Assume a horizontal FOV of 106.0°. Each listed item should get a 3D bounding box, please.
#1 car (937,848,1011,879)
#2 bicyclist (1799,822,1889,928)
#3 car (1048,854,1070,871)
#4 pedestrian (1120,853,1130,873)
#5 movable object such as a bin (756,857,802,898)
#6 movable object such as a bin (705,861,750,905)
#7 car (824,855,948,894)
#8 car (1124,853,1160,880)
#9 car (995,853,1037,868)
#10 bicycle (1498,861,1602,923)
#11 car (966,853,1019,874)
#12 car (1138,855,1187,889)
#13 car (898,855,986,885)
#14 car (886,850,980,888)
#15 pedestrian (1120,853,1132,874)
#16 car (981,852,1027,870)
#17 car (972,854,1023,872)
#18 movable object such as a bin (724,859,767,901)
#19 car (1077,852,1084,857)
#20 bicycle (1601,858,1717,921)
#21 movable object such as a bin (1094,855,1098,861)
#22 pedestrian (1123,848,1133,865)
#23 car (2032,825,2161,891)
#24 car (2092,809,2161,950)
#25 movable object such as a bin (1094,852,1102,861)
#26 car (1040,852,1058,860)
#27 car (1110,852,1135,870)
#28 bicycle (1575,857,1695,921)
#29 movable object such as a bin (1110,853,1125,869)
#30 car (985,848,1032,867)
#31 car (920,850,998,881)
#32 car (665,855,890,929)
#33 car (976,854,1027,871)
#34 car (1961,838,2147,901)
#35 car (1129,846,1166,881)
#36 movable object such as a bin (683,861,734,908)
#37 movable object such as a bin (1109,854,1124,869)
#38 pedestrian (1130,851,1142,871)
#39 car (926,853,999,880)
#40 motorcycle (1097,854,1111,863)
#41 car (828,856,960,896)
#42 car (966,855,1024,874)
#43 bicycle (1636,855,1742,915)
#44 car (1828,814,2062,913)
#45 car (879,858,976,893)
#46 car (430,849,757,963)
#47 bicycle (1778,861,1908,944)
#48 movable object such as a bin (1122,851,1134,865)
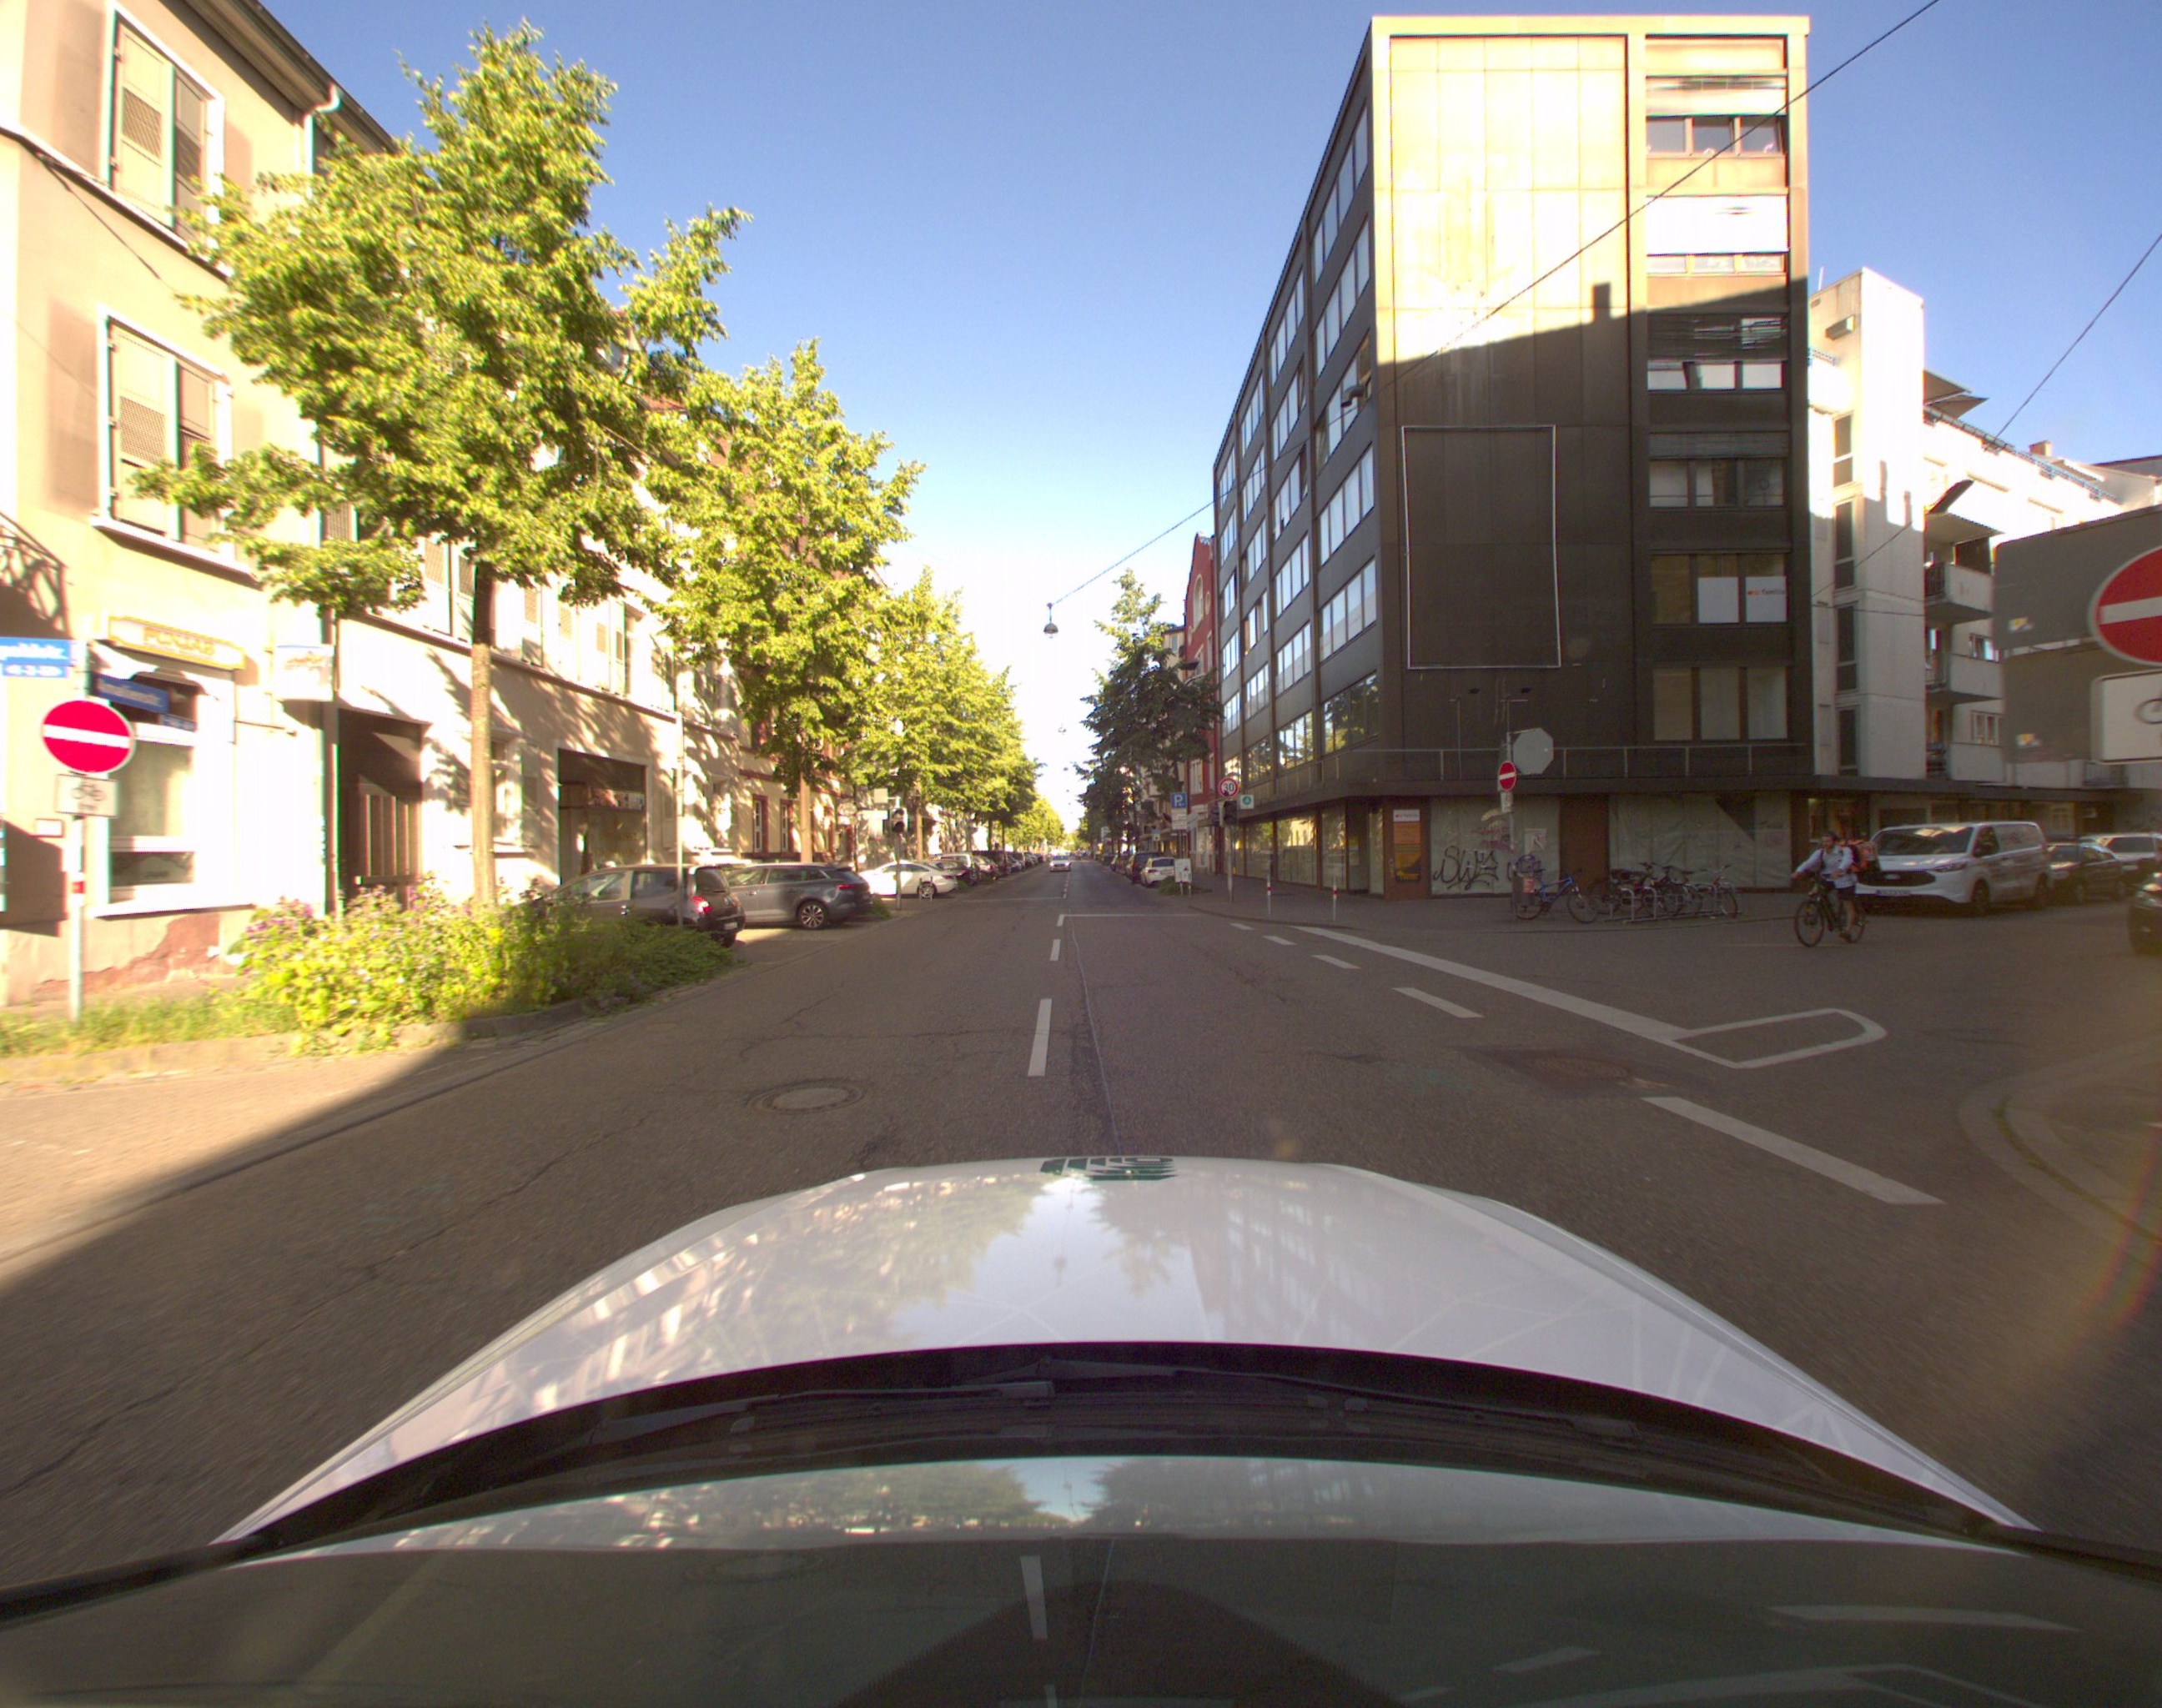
[{"bbox_3d":[-6.956,0.628,53.246,4.556,1.927,1.931,-1,0,1],"label":"car"},{"bbox_3d":[11.448,0.299,12.225,0.890,1.525,0.664,0,-1,-22],"label":"bicyclist"},{"bbox_3d":[-1.933,0.754,74.166,1.904,1.544,4.352,-1,0,-1],"label":"car"},{"bbox_3d":[3.418,0.707,62.968,0.648,1.536,0.979,-2,0,-2],"label":"pedestrian"},{"bbox_3d":[-11.042,0.848,29.808,1.129,1.445,1.382,0,0,3],"label":"movable object such as a bin"},{"bbox_3d":[-11.172,0.891,25.759,0.826,1.355,1.249,0,0,3],"label":"movable object such as a bin"},{"bbox_3d":[-7.970,0.829,33.695,4.692,1.492,1.996,0,1,-6],"label":"car"},{"bbox_3d":[3.865,0.764,52.304,1.816,1.596,4.840,-4,0,0],"label":"car"},{"bbox_3d":[-7.510,0.743,94.699,4.664,1.712,1.808,-1,0,0],"label":"car"},{"bbox_3d":[9.445,0.734,16.451,0.576,1.161,1.724,-2,1,-40],"label":"bicycle"},{"bbox_3d":[-7.509,0.770,69.249,4.326,1.709,1.916,-1,0,-1],"label":"car"},{"bbox_3d":[3.888,0.819,39.512,1.816,1.402,4.841,-4,0,0],"label":"car"},{"bbox_3d":[-7.404,0.847,43.714,4.320,1.544,1.918,-1,0,3],"label":"car"},{"bbox_3d":[-7.413,0.746,40.991,4.324,1.824,1.930,-1,0,1],"label":"car"},{"bbox_3d":[3.421,0.737,61.669,0.744,1.536,0.810,-2,0,14],"label":"pedestrian"},{"bbox_3d":[-7.856,0.747,83.052,4.451,1.772,1.917,-1,0,0],"label":"car"},{"bbox_3d":[-7.508,0.828,73.622,4.454,1.541,1.915,-1,0,-2],"label":"car"},{"bbox_3d":[-11.130,0.842,27.085,0.814,1.362,1.346,0,0,3],"label":"movable object such as a bin"},{"bbox_3d":[-0.095,0.131,221.037,1.787,1.411,3.999,-1,0,-1],"label":"car"},{"bbox_3d":[12.162,0.713,17.203,0.575,1.132,1.909,-1,3,-29],"label":"bicycle"},{"bbox_3d":[2.888,0.763,157.900,0.620,1.180,0.711,-1,0,-3],"label":"movable object such as a bin"},{"bbox_3d":[5.572,0.270,95.886,0.916,1.935,0.765,-1,0,24],"label":"pedestrian"},{"bbox_3d":[28.569,0.083,22.458,4.325,1.677,1.983,-1,0,-25],"label":"car"},{"bbox_3d":[15.746,0.302,10.794,4.325,1.771,1.983,-1,0,-25],"label":"car"},{"bbox_3d":[3.003,0.465,140.790,1.136,1.562,1.462,-2,0,8],"label":"movable object such as a bin"},{"bbox_3d":[-7.509,0.393,191.517,3.969,1.694,2.002,-1,0,4],"label":"car"},{"bbox_3d":[3.632,0.586,71.721,1.816,1.472,4.910,-4,0,0],"label":"car"},{"bbox_3d":[11.498,0.693,16.991,0.575,1.161,1.999,-1,3,-29],"label":"bicycle"},{"bbox_3d":[3.582,0.690,80.268,1.394,1.454,1.146,-1,0,-1],"label":"movable object such as a bin"},{"bbox_3d":[-7.631,0.369,85.940,4.664,1.950,1.917,-1,0,0],"label":"car"},{"bbox_3d":[-7.185,0.678,48.240,4.329,1.733,1.915,-1,0,-3],"label":"car"},{"bbox_3d":[-6.758,0.823,18.482,4.323,1.544,1.945,-1,0,1],"label":"car"},{"bbox_3d":[-7.431,0.791,76.379,4.448,1.541,1.918,-1,0,2],"label":"car"},{"bbox_3d":[23.782,0.379,19.919,3.673,1.412,1.964,0,-2,-24],"label":"car"},{"bbox_3d":[3.696,0.511,45.939,1.814,1.777,4.935,-4,0,3],"label":"car"},{"bbox_3d":[-11.177,0.897,24.477,0.905,1.367,1.262,0,0,3],"label":"movable object such as a bin"},{"bbox_3d":[3.507,0.701,81.440,1.394,1.454,1.146,-1,0,-1],"label":"movable object such as a bin"},{"bbox_3d":[4.259,0.560,62.956,0.706,1.536,0.772,-2,0,14],"label":"pedestrian"},{"bbox_3d":[-7.319,0.754,50.660,4.329,1.595,1.915,-1,0,-3],"label":"car"},{"bbox_3d":[3.683,0.666,130.467,1.979,1.330,0.908,-1,0,-13],"label":"motorcycle"},{"bbox_3d":[-7.072,0.843,31.238,4.692,1.492,1.996,0,-1,-6],"label":"car"},{"bbox_3d":[-6.990,0.847,66.680,4.450,1.541,1.917,-1,0,1],"label":"car"},{"bbox_3d":[13.040,0.639,17.522,0.574,1.132,1.732,-1,3,-25],"label":"bicycle"},{"bbox_3d":[19.014,0.161,17.904,4.960,1.929,2.101,-1,0,-25],"label":"car"},{"bbox_3d":[-7.216,0.975,38.271,4.343,1.544,1.956,-1,0,-12],"label":"car"},{"bbox_3d":[-7.525,0.765,12.886,3.972,1.640,1.945,-1,0,1],"label":"car"},{"bbox_3d":[11.421,0.695,12.207,1.945,1.158,0.664,0,0,-22],"label":"bicycle"},{"bbox_3d":[4.750,0.396,82.631,1.074,1.431,1.295,-1,0,-1],"label":"movable object such as a bin"}]
